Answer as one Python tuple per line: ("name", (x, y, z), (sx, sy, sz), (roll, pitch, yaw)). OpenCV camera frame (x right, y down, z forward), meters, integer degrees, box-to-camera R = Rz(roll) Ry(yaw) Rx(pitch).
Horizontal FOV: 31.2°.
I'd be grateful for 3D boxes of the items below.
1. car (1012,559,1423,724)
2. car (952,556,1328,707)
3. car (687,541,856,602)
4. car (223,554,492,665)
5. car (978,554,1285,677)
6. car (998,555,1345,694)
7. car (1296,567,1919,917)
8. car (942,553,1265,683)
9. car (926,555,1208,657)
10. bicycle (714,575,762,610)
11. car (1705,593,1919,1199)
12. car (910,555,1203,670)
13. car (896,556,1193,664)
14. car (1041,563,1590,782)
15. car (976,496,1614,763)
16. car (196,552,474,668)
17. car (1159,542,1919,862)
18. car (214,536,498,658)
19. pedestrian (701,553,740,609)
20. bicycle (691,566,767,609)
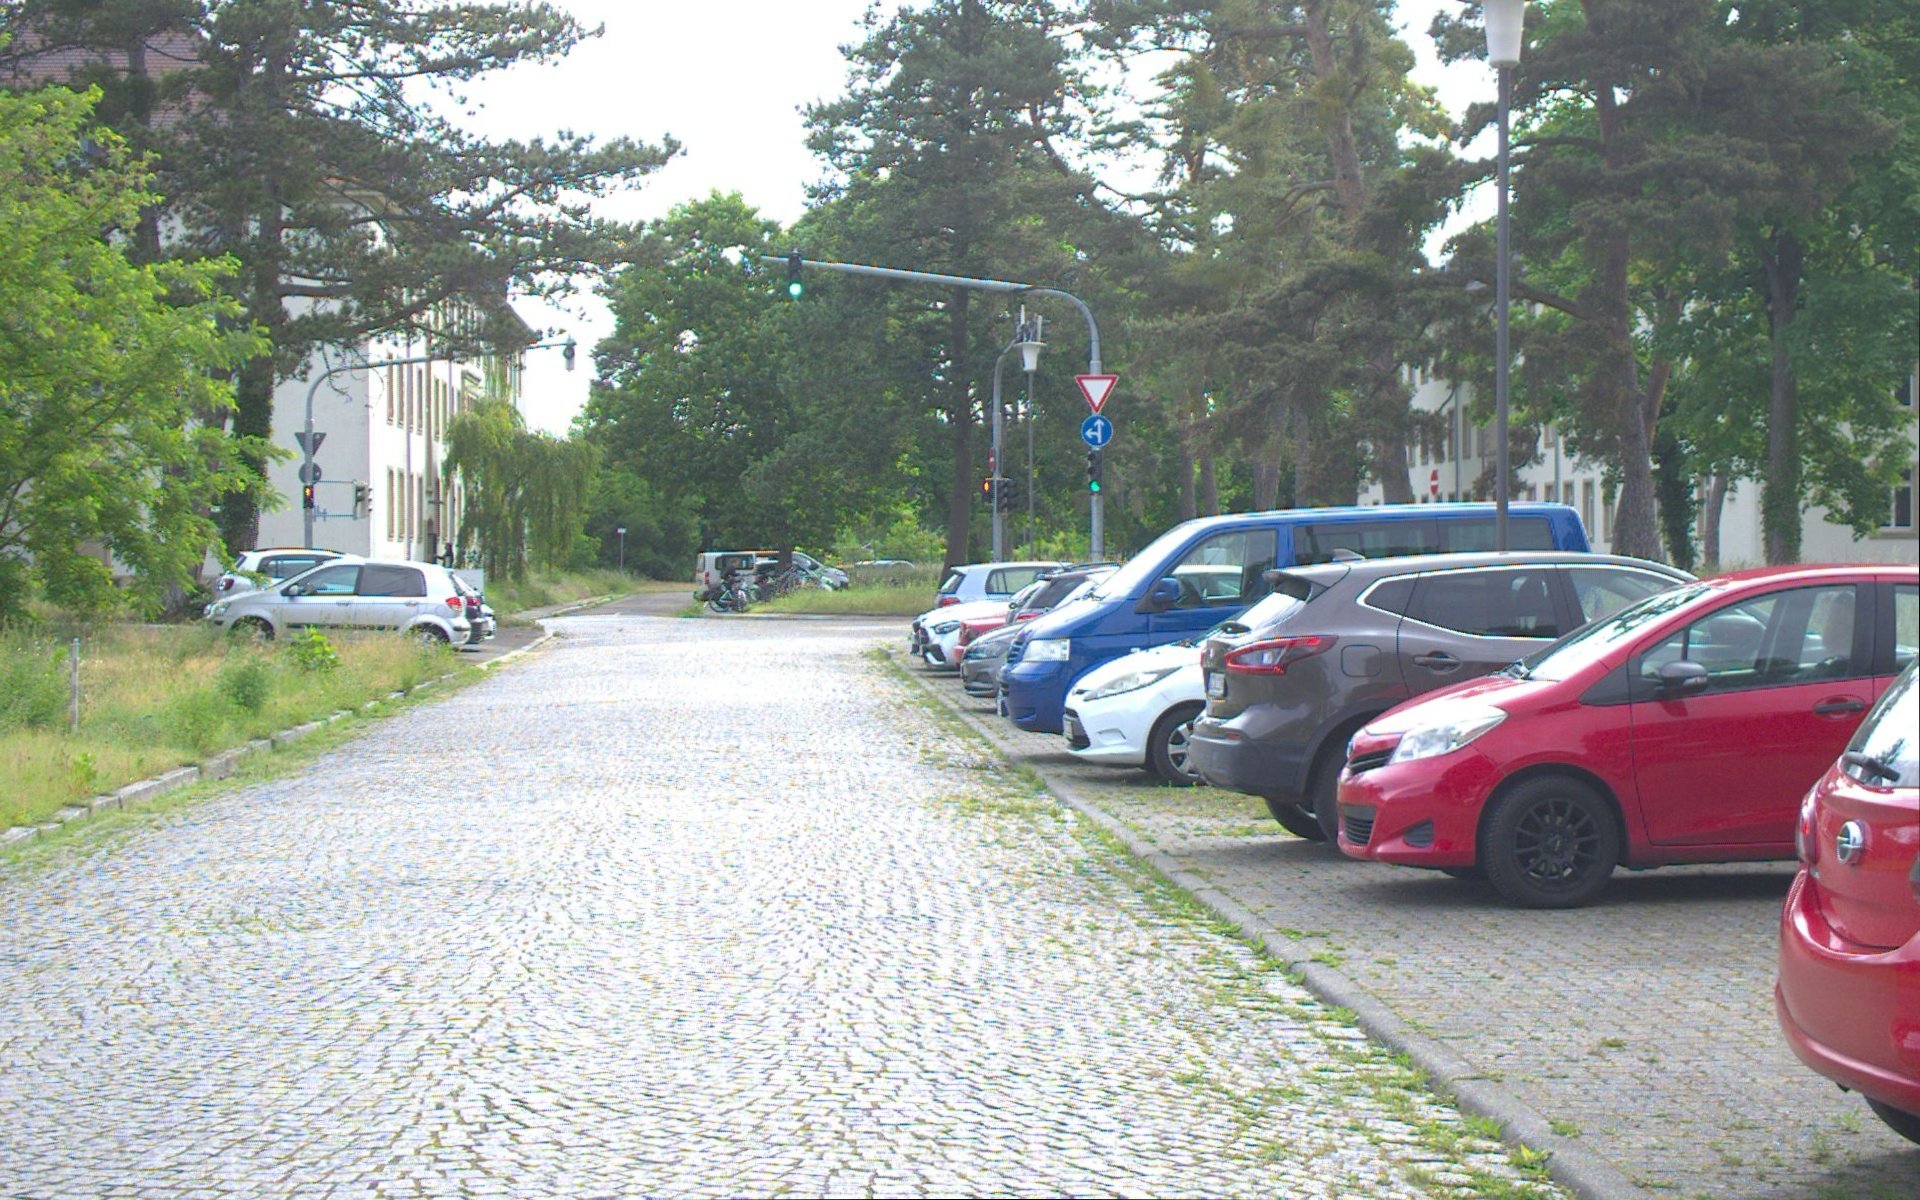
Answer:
("car", (2.420, 0.377, 32.747), (3.671, 1.444, 1.524), (-1, 0, -5))
("car", (1.825, 0.311, 35.499), (3.671, 1.444, 1.524), (-1, 0, -5))
("car", (-6.464, -0.972, 117.754), (5.444, 2.007, 2.269), (1, 0, -12))
("car", (-9.085, 0.139, 52.027), (3.821, 1.567, 1.564), (-1, 0, -4))
("car", (2.142, 0.183, 43.506), (3.671, 1.444, 1.524), (-1, 0, -5))
("car", (2.341, 0.260, 38.519), (3.671, 1.444, 1.524), (-1, 0, -5))
("car", (3.584, 0.598, 15.885), (3.791, 1.455, 1.751), (-1, 0, -3))
("car", (1.695, 0.205, 41.194), (3.671, 1.444, 1.524), (-1, 0, -5))
("car", (1.577, 0.077, 51.246), (3.967, 1.416, 1.620), (-1, 0, -7))
("bicycle", (-6.185, -0.219, 95.761), (0.620, 0.942, 1.663), (1, 1, -31))
("car", (3.946, 0.687, 8.303), (3.825, 1.455, 1.779), (-1, 0, -4))
("car", (1.261, 0.155, 45.715), (3.671, 1.416, 1.524), (-1, 0, -7))
("car", (1.171, 0.126, 48.570), (3.967, 1.416, 1.620), (-1, 0, -7))
("car", (2.524, 0.497, 24.870), (3.671, 1.444, 1.615), (-1, 0, -6))
("car", (2.608, 0.214, 27.469), (4.753, 1.948, 1.932), (-1, 0, -5))
("car", (-8.978, 0.130, 49.612), (3.821, 1.567, 1.565), (-1, 0, -6))
("car", (3.220, 0.507, 18.520), (4.028, 1.547, 1.751), (-1, 0, -6))
("car", (-9.618, -0.057, 54.989), (4.262, 1.834, 1.744), (-1, 0, -4))
("pedestrian", (-6.938, -0.561, 99.462), (1.033, 1.608, 0.758), (1, 0, -9))
("bicycle", (-6.668, -0.361, 99.298), (2.136, 1.210, 0.622), (1, 0, -8))
